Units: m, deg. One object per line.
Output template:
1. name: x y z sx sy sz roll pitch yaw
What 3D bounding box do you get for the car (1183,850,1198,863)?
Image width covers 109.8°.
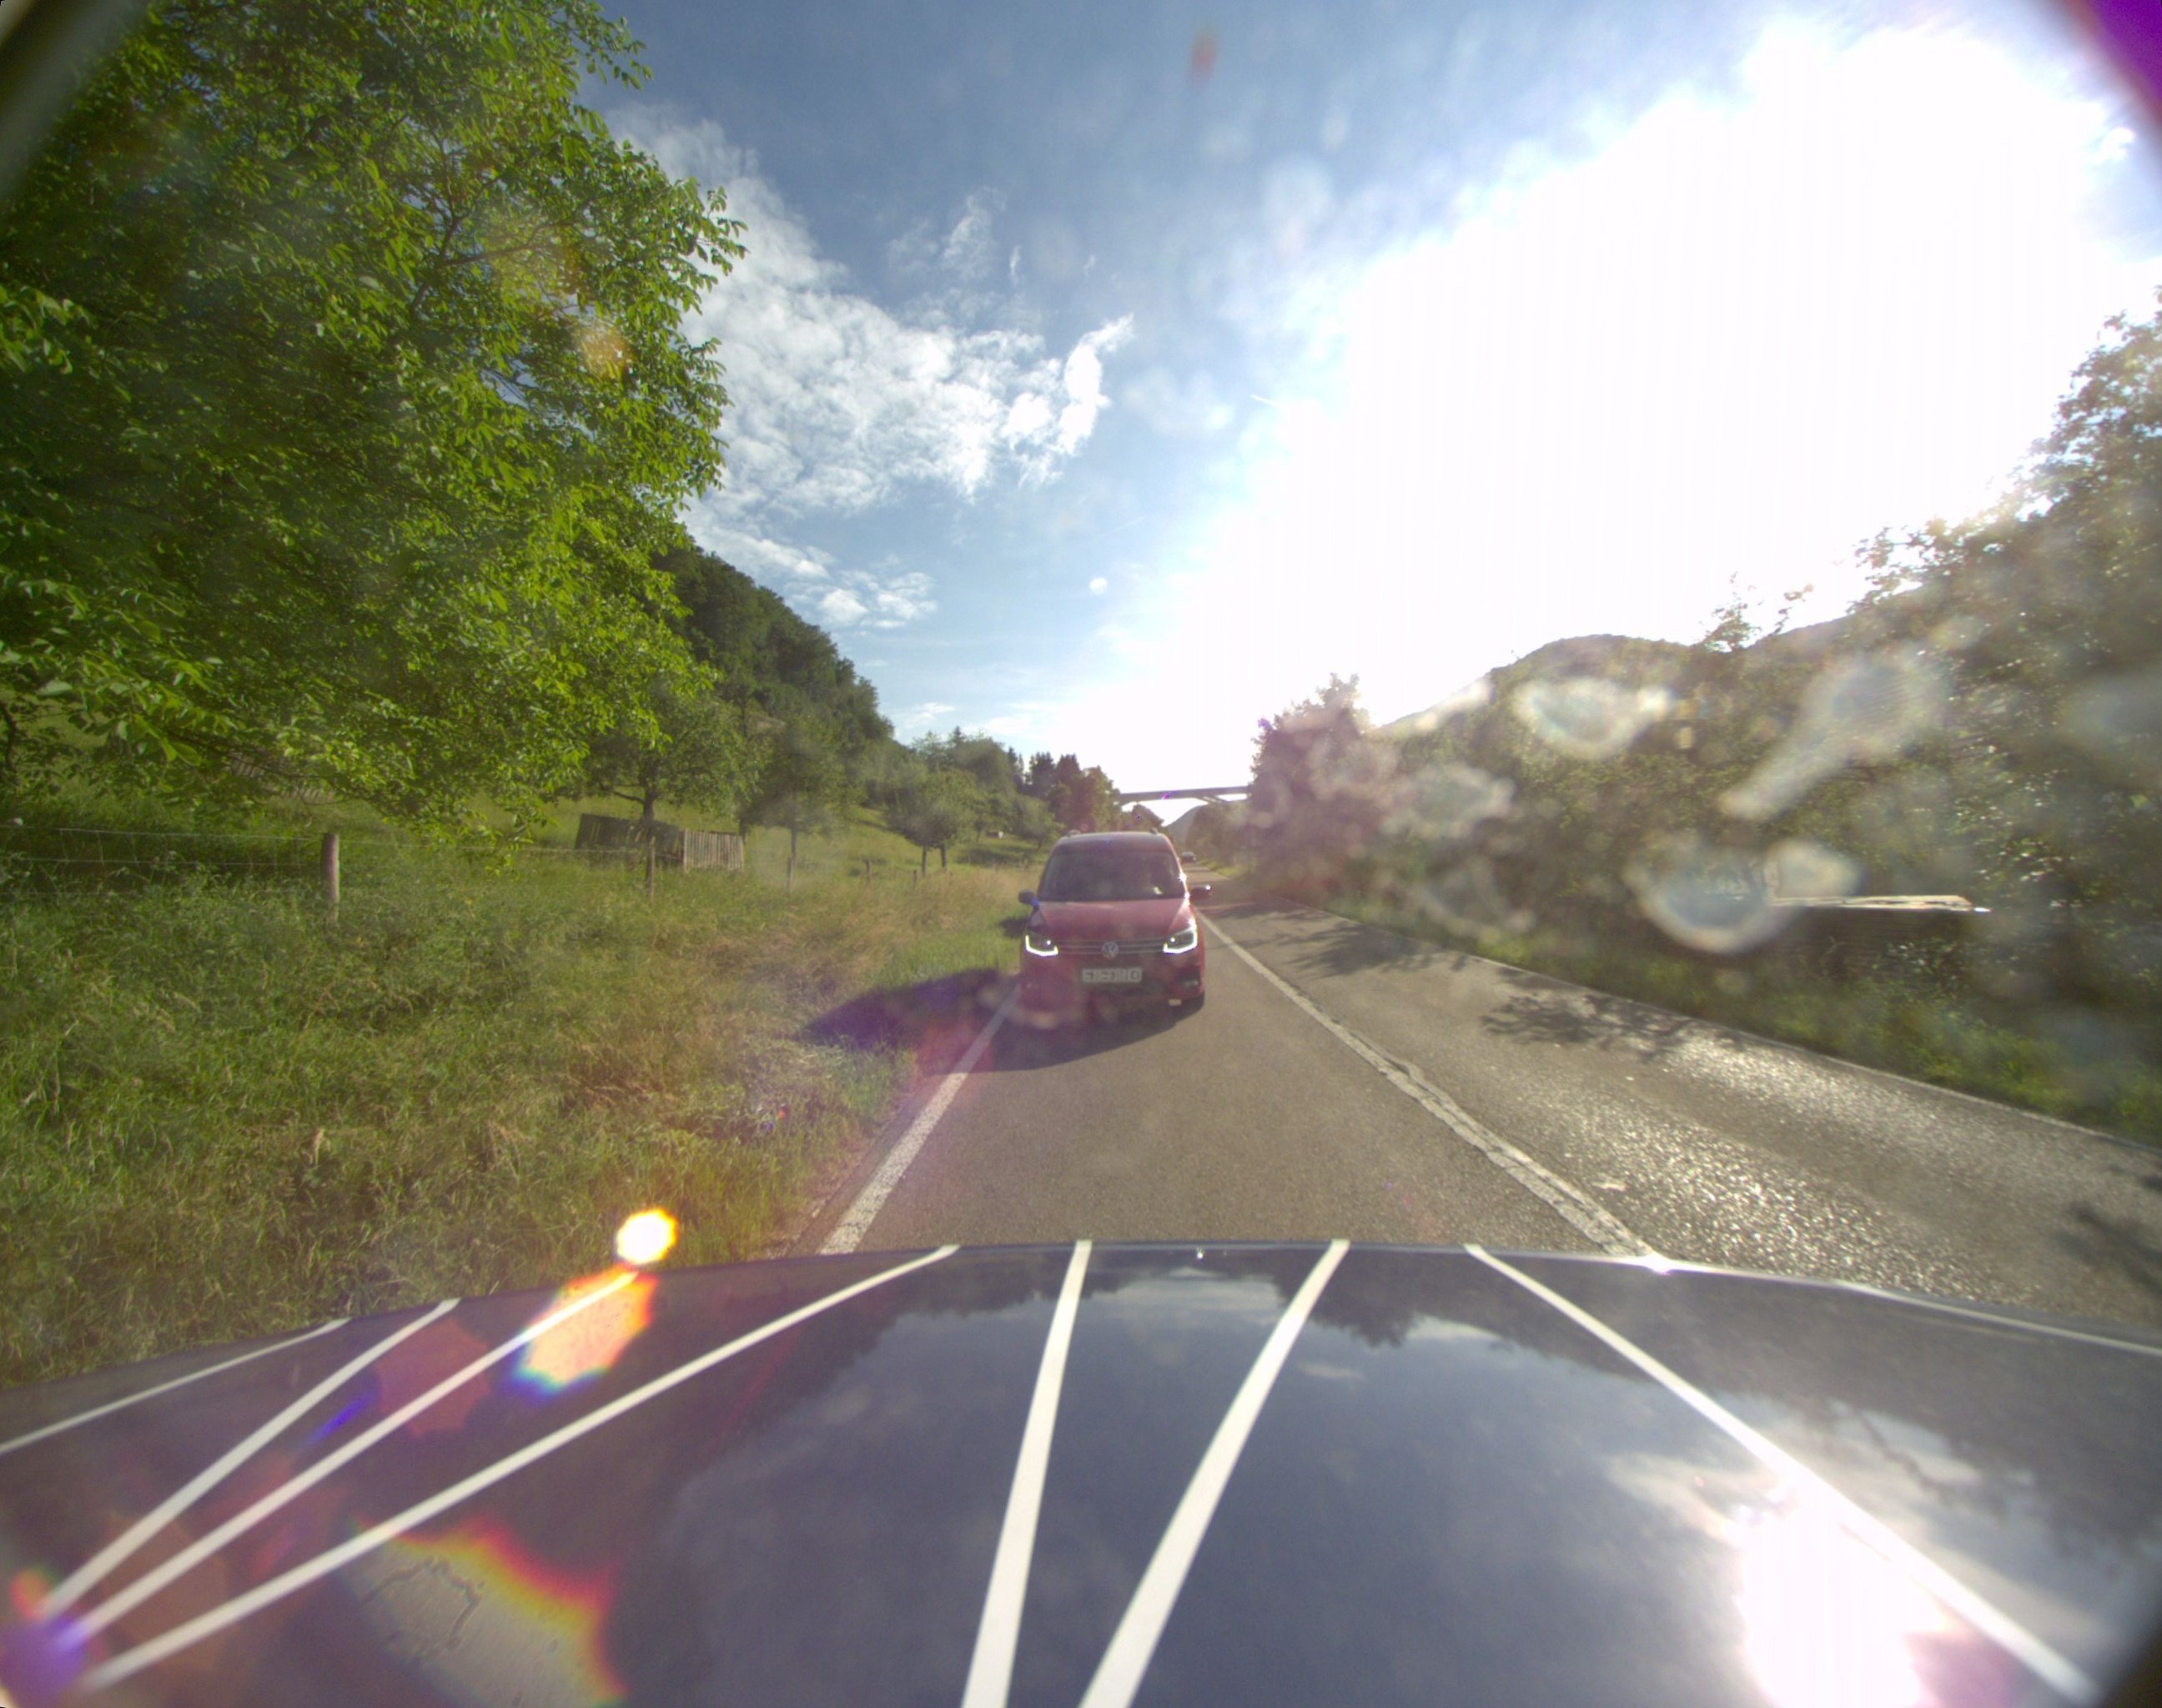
1. car: 13.073 0.281 90.645 1.597 1.346 4.204 -2 1 6

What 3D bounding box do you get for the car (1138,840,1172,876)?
1. car: 4.200 0.192 43.360 1.758 1.926 4.001 -2 1 5

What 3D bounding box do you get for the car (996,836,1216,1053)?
1. car: 0.309 0.726 8.511 1.759 1.745 4.430 -2 1 3

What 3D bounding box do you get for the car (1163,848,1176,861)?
1. car: 14.146 0.094 121.590 1.998 2.002 4.001 -2 1 5

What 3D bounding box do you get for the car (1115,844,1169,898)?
1. car: 2.201 0.555 27.577 1.758 1.745 4.001 -2 1 4

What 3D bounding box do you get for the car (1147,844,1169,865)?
1. car: 7.730 0.048 76.747 1.998 2.002 4.000 -2 1 4
